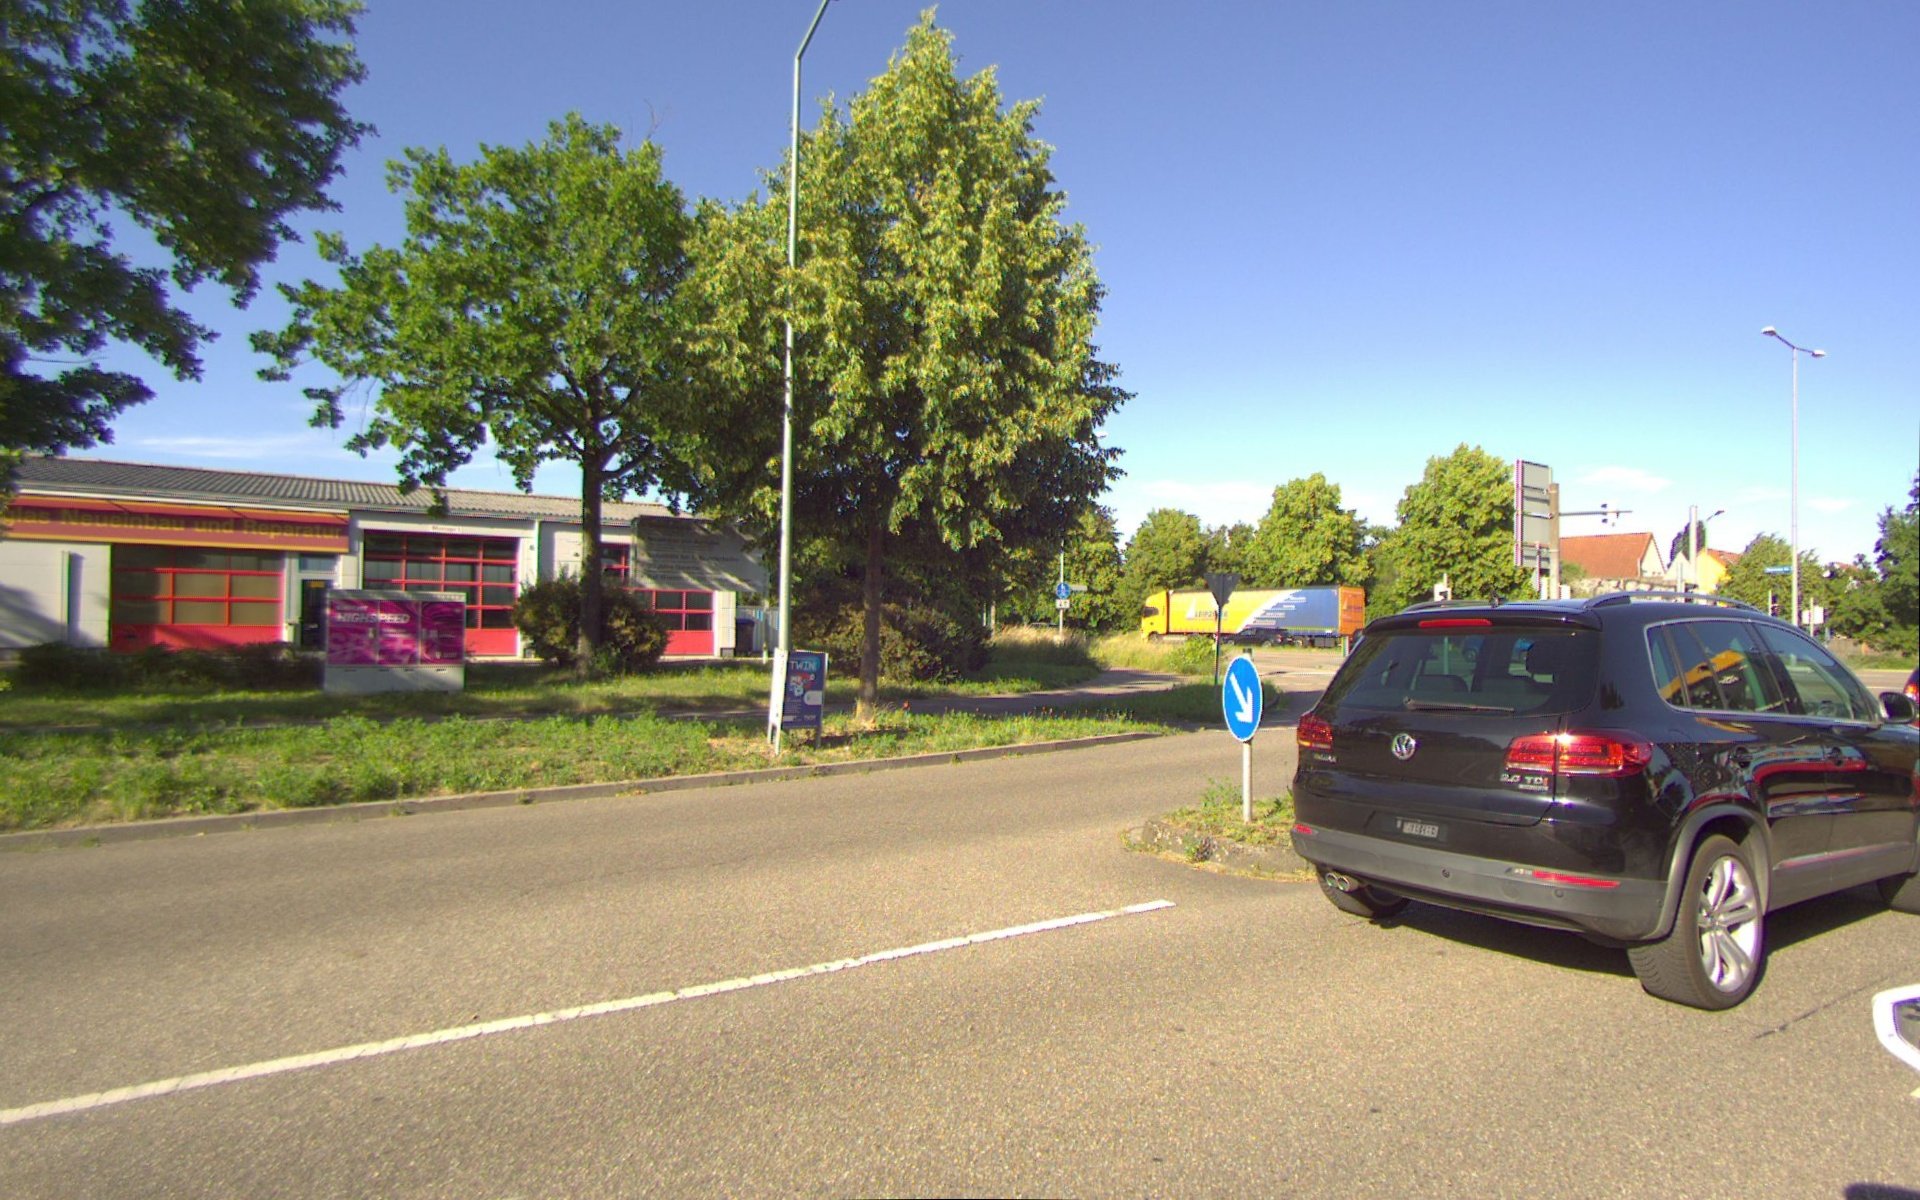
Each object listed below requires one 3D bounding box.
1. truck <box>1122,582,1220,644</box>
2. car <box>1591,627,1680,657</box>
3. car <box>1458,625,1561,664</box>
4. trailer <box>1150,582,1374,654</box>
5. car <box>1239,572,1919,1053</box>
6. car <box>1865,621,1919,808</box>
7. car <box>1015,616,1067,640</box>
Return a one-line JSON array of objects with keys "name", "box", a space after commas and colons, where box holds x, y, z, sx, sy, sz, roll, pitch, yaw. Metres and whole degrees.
[{"name": "truck", "box": [15.113, 0.890, 72.323, 3.408, 4.253, 6.177, 2, 0, -36]}, {"name": "car", "box": [35.092, 2.186, 52.268, 3.522, 1.478, 1.578, 0, -2, 9]}, {"name": "car", "box": [23.752, 1.898, 43.496, 1.733, 1.581, 3.559, 2, -2, -35]}, {"name": "trailer", "box": [19.379, 0.982, 66.317, 3.407, 4.241, 15.206, 2, 0, -35]}, {"name": "car", "box": [3.547, 0.819, 5.314, 3.954, 1.675, 1.763, 1, -3, -31]}, {"name": "car", "box": [10.225, 1.003, 9.215, 3.954, 1.610, 1.753, 1, -3, -31]}, {"name": "car", "box": [6.320, 2.185, 78.382, 1.929, 1.728, 3.959, 2, 0, -36]}]
